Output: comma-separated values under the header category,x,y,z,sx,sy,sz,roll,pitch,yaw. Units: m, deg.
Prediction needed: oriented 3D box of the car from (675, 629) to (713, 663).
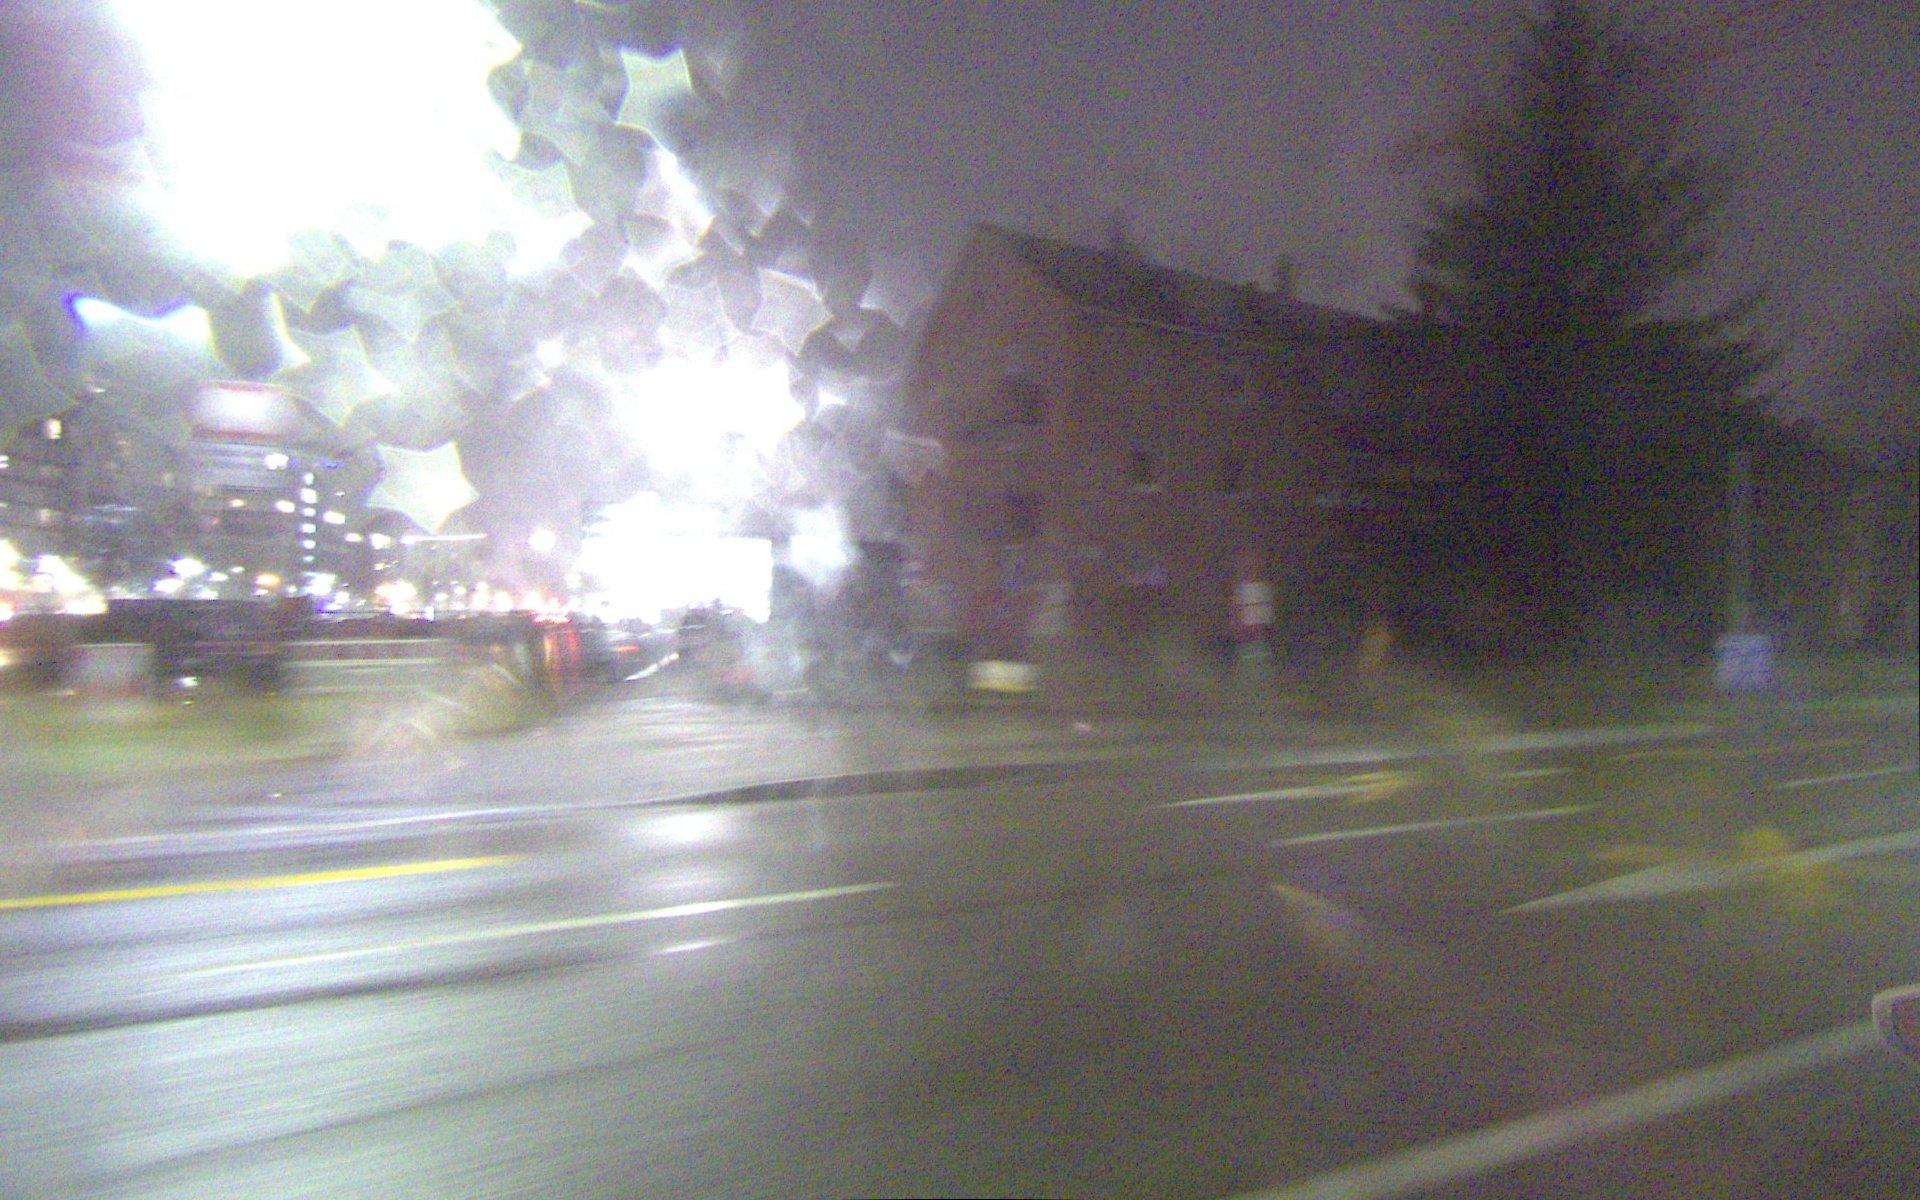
category,x,y,z,sx,sy,sz,roll,pitch,yaw
car,-14.823,2.553,56.088,1.966,1.862,3.794,0,-2,-14

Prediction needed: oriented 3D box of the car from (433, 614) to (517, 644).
category,x,y,z,sx,sy,sz,roll,pitch,yaw
car,-30.347,1.822,62.958,4.357,1.643,1.995,3,-2,-14

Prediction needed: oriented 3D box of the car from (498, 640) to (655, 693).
category,x,y,z,sx,sy,sz,roll,pitch,yaw
car,-10.484,1.803,27.643,3.748,1.353,1.536,0,-1,-5

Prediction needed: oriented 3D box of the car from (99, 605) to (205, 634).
category,x,y,z,sx,sy,sz,roll,pitch,yaw
car,-46.424,1.113,57.795,4.317,1.643,1.996,0,0,-11

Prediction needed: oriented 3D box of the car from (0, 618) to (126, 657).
category,x,y,z,sx,sy,sz,roll,pitch,yaw
car,-45.991,1.948,51.530,4.230,1.758,2.333,2,-4,-3
